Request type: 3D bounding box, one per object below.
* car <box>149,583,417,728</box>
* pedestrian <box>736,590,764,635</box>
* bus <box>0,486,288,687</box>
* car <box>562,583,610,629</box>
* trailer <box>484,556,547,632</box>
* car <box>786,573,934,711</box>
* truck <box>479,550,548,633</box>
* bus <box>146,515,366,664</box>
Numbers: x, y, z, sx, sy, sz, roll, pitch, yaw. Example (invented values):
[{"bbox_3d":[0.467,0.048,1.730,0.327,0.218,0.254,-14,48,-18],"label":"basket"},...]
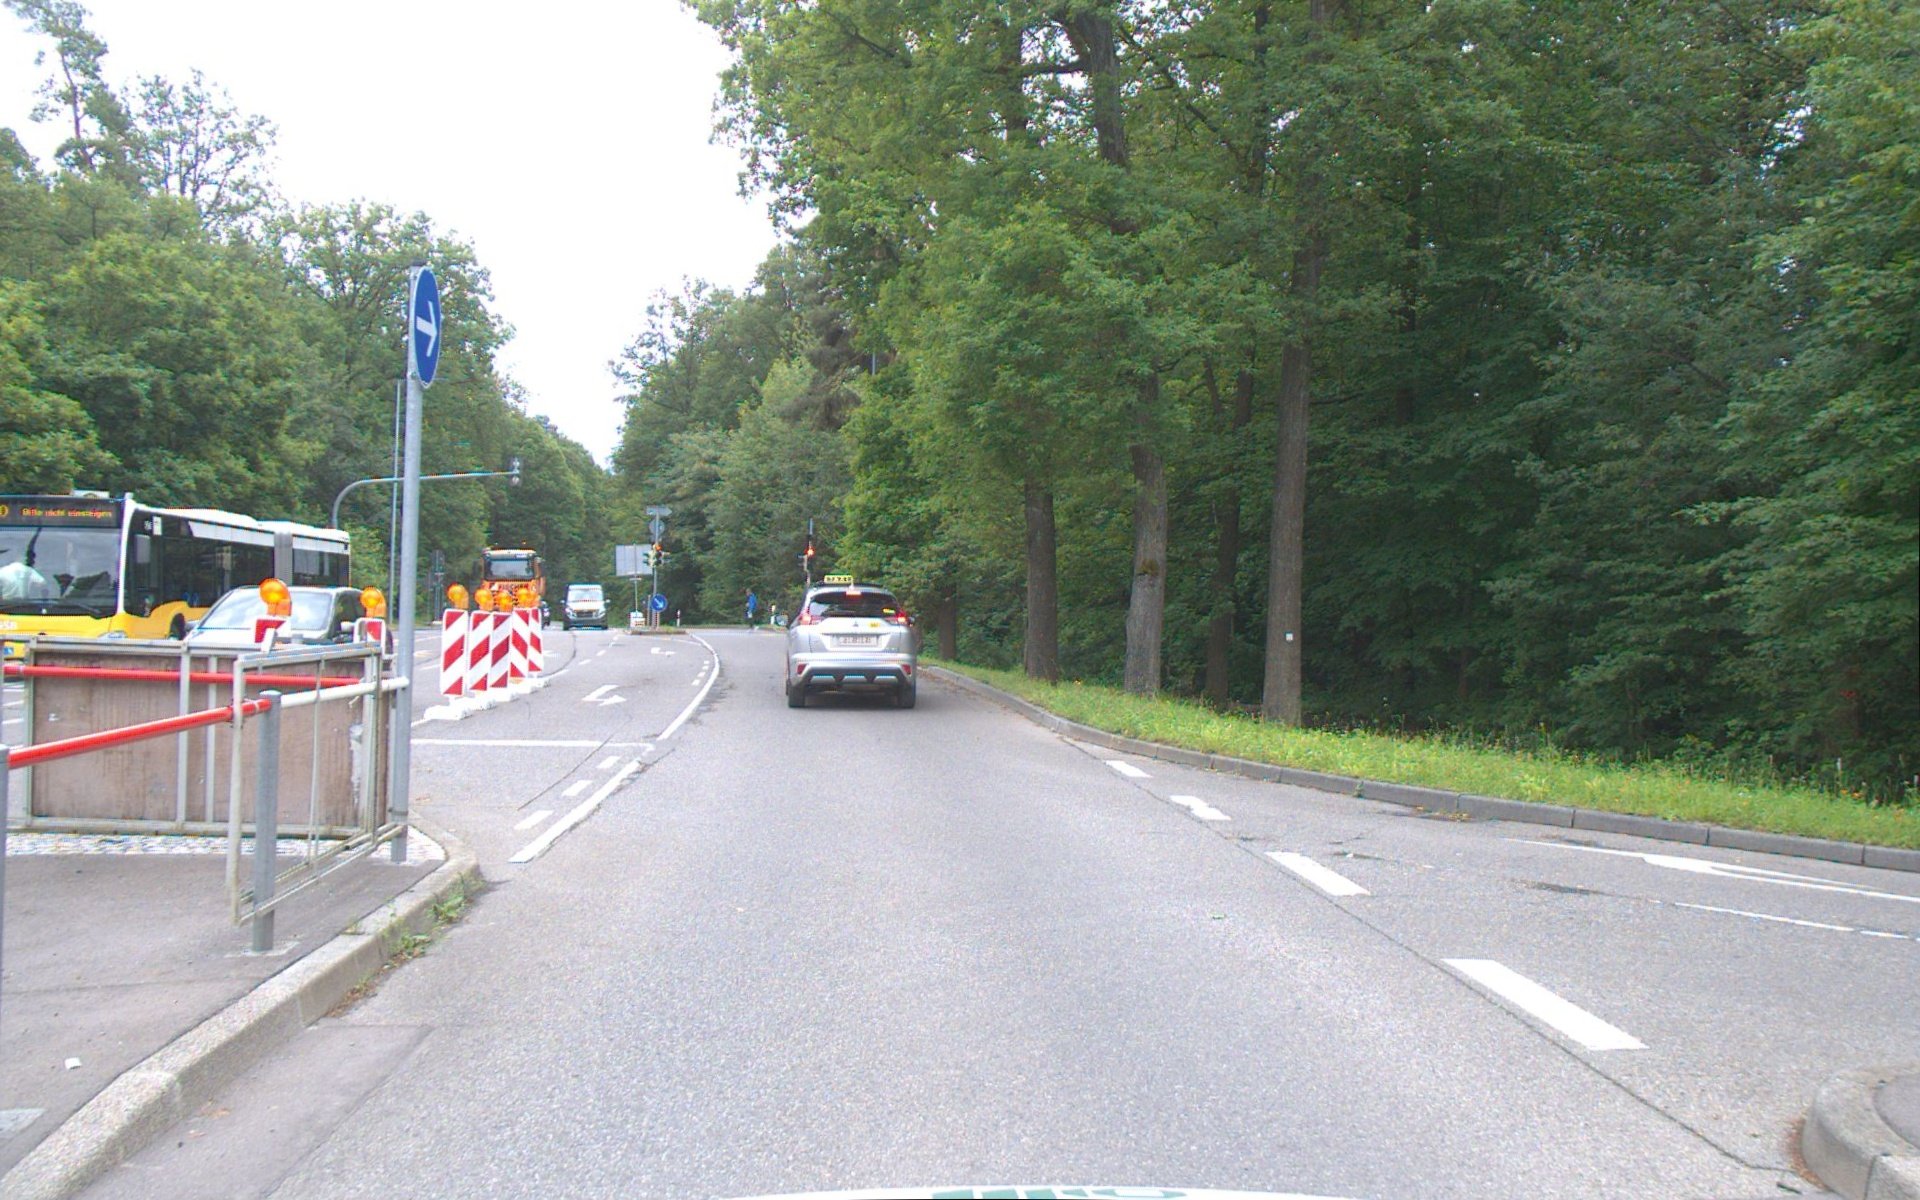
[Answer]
[{"bbox_3d":[-7.906,0.619,19.773,1.773,1.535,4.303,0,-1,-5],"label":"car"},{"bbox_3d":[-8.016,0.475,63.127,1.027,1.678,1.067,0,0,-6],"label":"pedestrian"},{"bbox_3d":[-15.484,-0.219,31.358,2.845,3.182,9.738,2,0,-9],"label":"bus"},{"bbox_3d":[-16.340,0.286,72.238,1.959,1.927,4.822,-1,0,-13],"label":"car"},{"bbox_3d":[-20.692,-0.200,77.248,2.693,3.376,8.535,-1,-1,-14],"label":"trailer"},{"bbox_3d":[-1.355,0.544,23.792,1.808,1.811,4.001,0,0,1],"label":"car"},{"bbox_3d":[-19.221,-0.305,71.443,2.693,3.376,7.132,-1,-1,-14],"label":"truck"},{"bbox_3d":[-16.919,-0.217,40.463,2.845,3.182,8.675,2,0,-9],"label":"bus"}]
